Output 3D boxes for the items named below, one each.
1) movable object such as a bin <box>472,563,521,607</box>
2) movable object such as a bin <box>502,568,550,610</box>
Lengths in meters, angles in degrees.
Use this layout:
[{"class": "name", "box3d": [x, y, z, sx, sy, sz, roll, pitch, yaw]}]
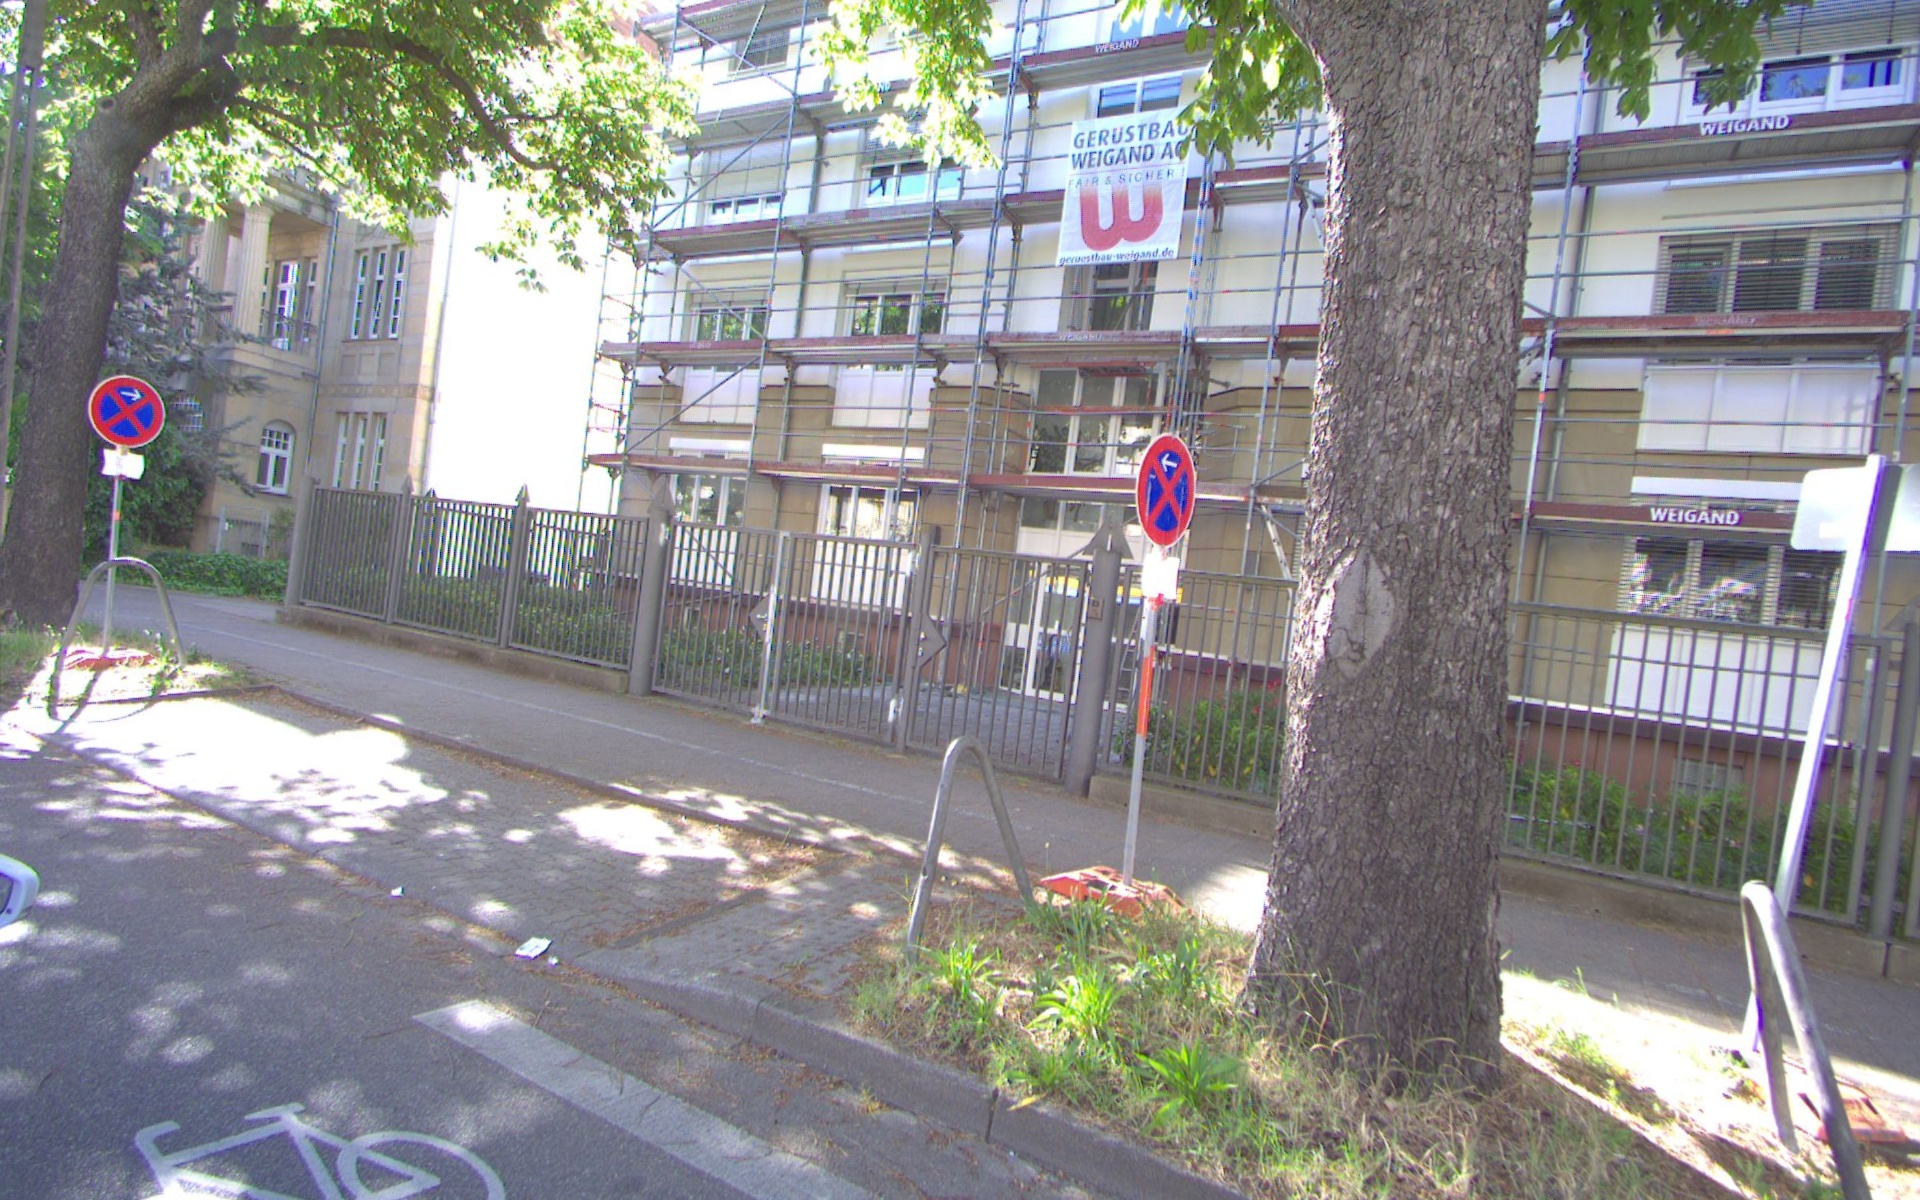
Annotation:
[{"class": "movable object such as a bin", "box3d": [-11.717, -0.369, 25.445, 0.637, 0.966, 0.835, 6, -2, 30]}, {"class": "movable object such as a bin", "box3d": [-11.296, -0.283, 26.202, 0.637, 0.966, 0.835, 6, -2, 30]}]
